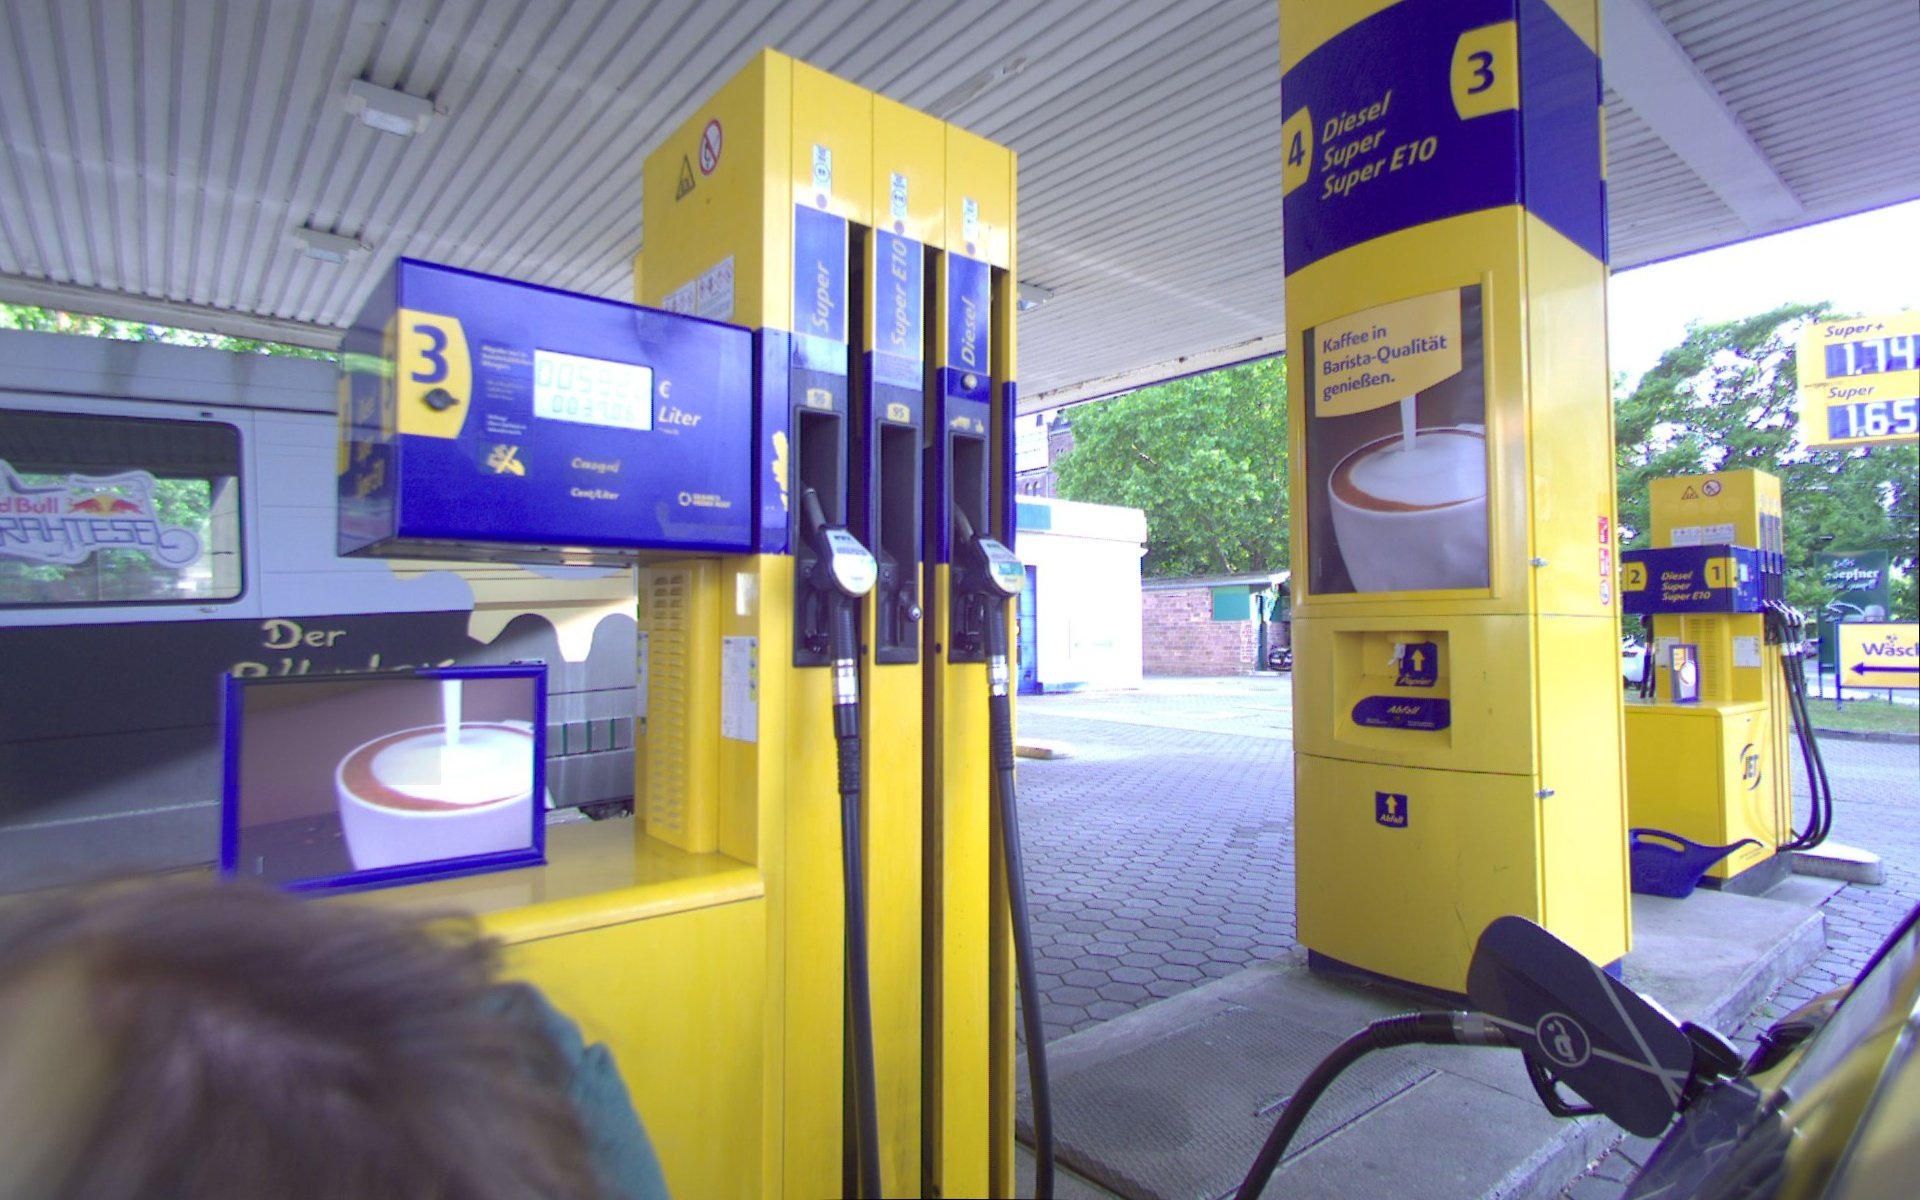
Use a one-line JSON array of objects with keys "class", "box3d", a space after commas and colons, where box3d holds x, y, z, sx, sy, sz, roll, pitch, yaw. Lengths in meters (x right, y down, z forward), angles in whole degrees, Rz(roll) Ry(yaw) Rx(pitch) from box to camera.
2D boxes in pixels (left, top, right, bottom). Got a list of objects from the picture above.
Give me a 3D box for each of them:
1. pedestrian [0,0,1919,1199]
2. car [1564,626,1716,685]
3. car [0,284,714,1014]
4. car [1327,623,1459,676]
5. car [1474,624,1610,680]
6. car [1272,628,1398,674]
[{"class": "pedestrian", "box3d": [-0.333, 0.526, 0.570, 0.975, 1.750, 1.182, -2, 1, -36]}, {"class": "car", "box3d": [18.251, 1.486, 27.139, 4.112, 1.478, 1.826, 2, -3, -31]}, {"class": "car", "box3d": [-4.100, 0.193, 4.860, 5.248, 2.760, 2.201, 0, -1, -39]}, {"class": "car", "box3d": [13.778, 1.568, 32.174, 4.112, 1.606, 1.826, 2, -3, -31]}, {"class": "car", "box3d": [17.768, 1.577, 30.856, 4.112, 1.606, 1.826, 2, -3, -31]}, {"class": "car", "box3d": [12.639, 1.699, 34.037, 4.112, 1.453, 1.826, 2, -3, -31]}]
